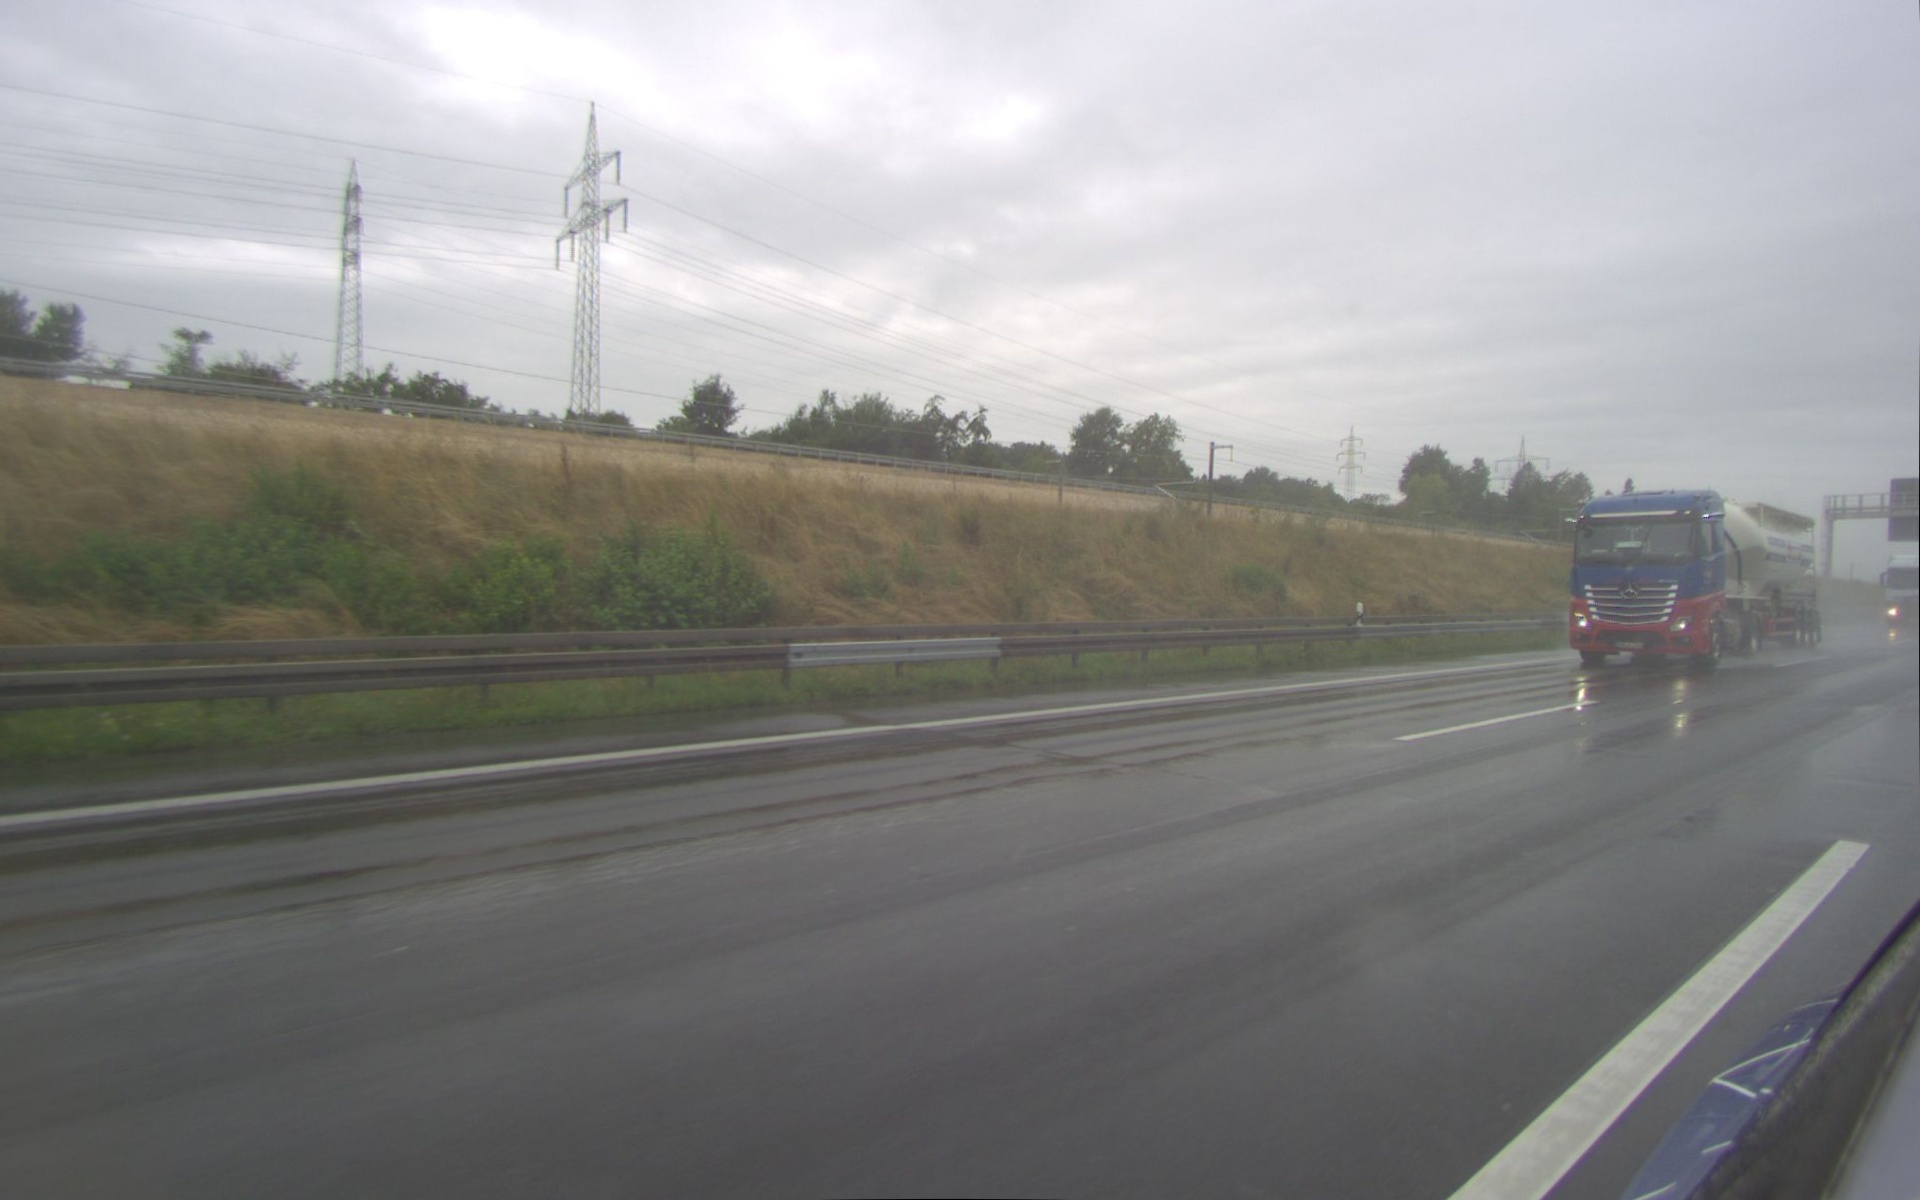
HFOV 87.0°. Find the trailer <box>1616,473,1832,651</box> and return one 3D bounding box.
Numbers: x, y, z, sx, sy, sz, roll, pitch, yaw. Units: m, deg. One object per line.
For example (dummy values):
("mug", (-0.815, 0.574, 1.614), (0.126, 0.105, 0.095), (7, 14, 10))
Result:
("trailer", (20.604, -0.768, 26.904), (10.873, 3.932, 2.501), (1, -1, -42))

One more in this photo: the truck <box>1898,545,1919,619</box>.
("truck", (53.738, -0.925, 55.671), (6.089, 3.939, 2.456), (1, -1, -41))

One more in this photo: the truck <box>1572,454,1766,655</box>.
("truck", (16.115, -0.888, 22.896), (4.987, 4.034, 2.501), (1, -1, -41))
